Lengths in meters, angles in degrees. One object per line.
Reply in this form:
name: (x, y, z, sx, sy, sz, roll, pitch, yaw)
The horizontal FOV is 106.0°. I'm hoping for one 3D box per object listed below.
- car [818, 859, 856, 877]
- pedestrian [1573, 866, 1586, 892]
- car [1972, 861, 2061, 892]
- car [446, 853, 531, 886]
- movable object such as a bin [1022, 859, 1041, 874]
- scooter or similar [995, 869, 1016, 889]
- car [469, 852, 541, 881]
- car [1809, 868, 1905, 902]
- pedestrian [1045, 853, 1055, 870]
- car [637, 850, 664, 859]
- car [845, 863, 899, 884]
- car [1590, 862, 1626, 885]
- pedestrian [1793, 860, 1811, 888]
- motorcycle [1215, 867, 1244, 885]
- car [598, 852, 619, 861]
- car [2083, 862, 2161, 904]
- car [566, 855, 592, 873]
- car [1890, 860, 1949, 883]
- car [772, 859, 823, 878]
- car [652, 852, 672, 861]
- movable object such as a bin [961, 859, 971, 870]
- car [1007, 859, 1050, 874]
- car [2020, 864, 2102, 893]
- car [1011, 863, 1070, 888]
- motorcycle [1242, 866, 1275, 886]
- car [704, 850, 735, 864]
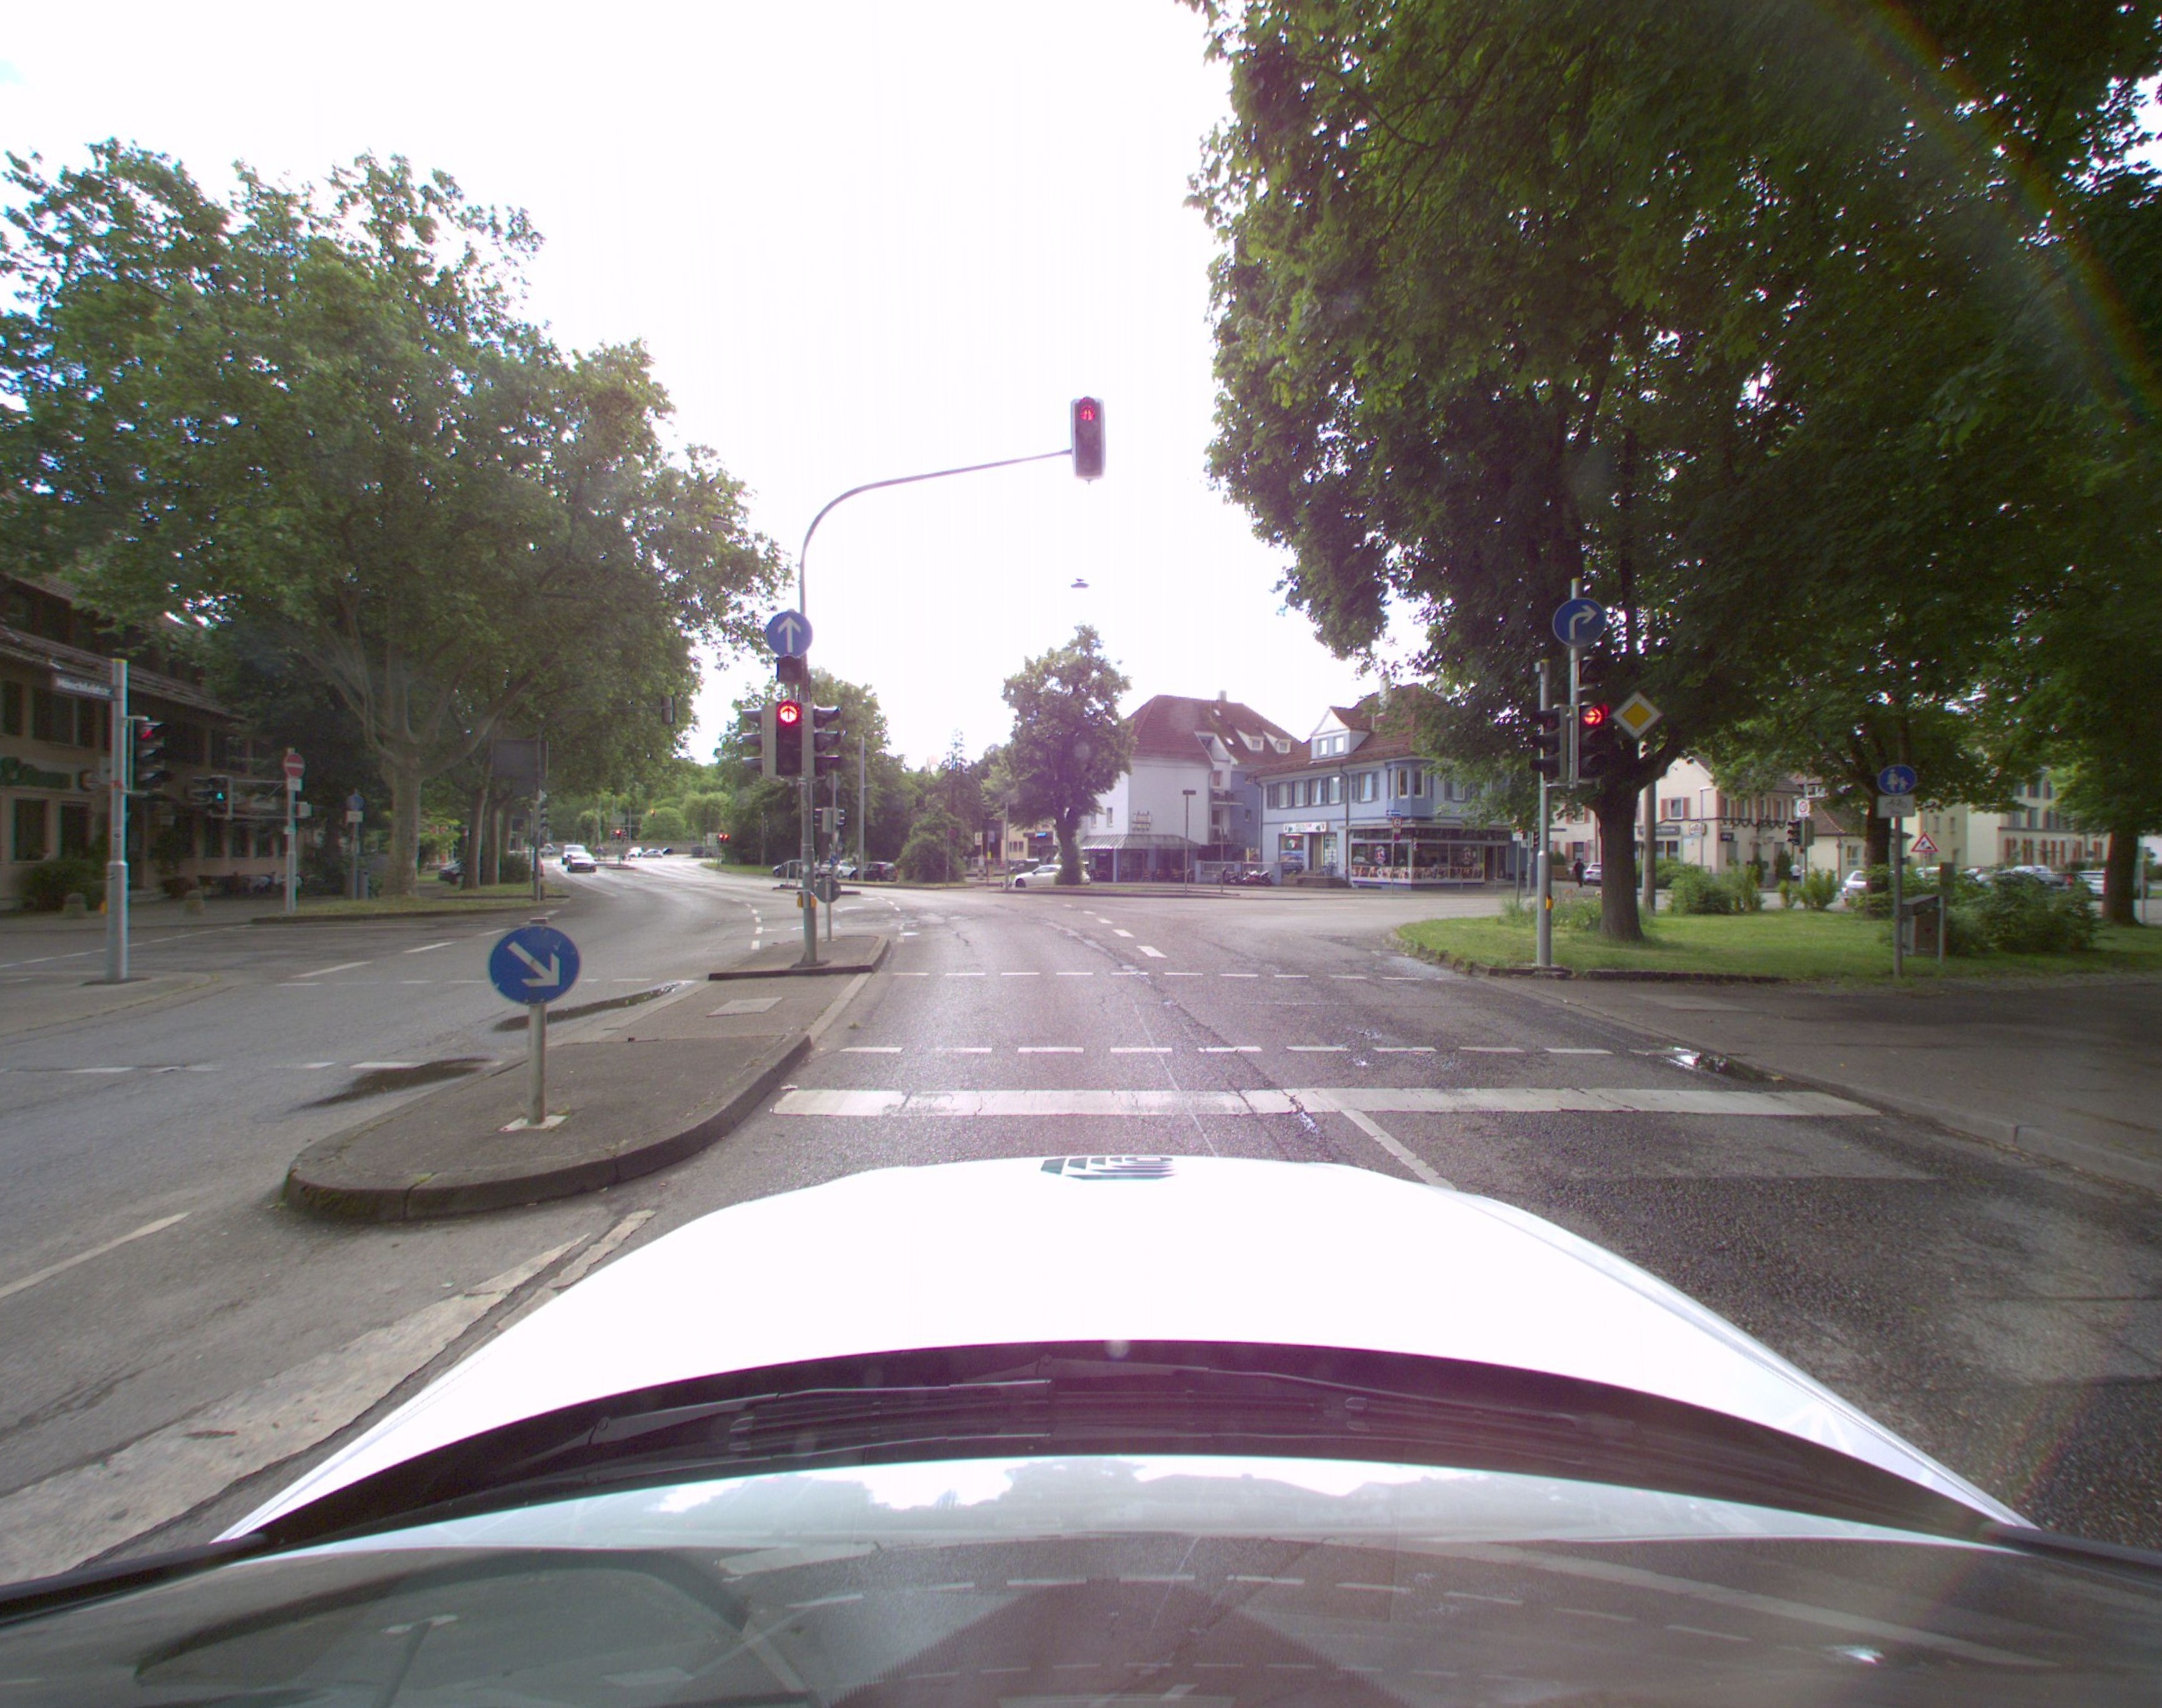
car: (-20.079, 1.140, 67.180, 1.534, 1.464, 3.407, 0, 0, 13)
pedestrian: (28.799, 1.447, 47.014, 0.580, 1.517, 0.462, -1, -1, 35)
car: (42.217, 0.979, 36.746, 3.510, 1.321, 1.549, 0, 0, -21)
car: (-31.000, 0.790, 42.711, 3.461, 1.641, 1.557, 0, -1, -31)
movable object such as a bin: (-4.522, 1.144, 74.242, 1.447, 1.409, 0.959, 0, -1, -25)
scooter or similar: (-3.976, 1.296, 42.875, 0.413, 1.011, 1.575, -1, -1, 22)
car: (-35.483, 0.764, 50.277, 3.461, 1.742, 1.557, 0, -1, -31)
car: (31.964, 1.255, 33.562, 3.511, 1.321, 1.549, 0, 0, -22)
pedestrian: (-2.925, 0.712, 77.101, 0.681, 1.545, 0.701, 0, -1, -32)
car: (-77.968, 0.037, 147.546, 4.003, 1.551, 1.855, 0, 0, -23)
car: (-13.906, 1.274, 54.199, 3.549, 1.394, 1.481, 0, -1, 34)
car: (32.604, 1.190, 50.335, 1.481, 1.369, 3.198, -1, -1, 40)
pedestrian: (43.161, 1.183, 48.762, 0.611, 1.649, 0.606, 0, -1, -27)
motorcycle: (9.115, 1.320, 50.071, 0.699, 1.064, 1.617, 0, -1, -44)
car: (-106.177, 0.522, 183.020, 4.011, 2.014, 1.981, 0, -1, -29)
car: (52.832, 1.439, 41.120, 4.004, 2.014, 1.770, 0, -1, -23)
car: (-40.176, 0.811, 65.179, 1.440, 1.416, 2.838, 0, -1, -39)
car: (55.117, 1.132, 53.524, 4.007, 1.420, 1.544, 0, 0, -26)
car: (-22.437, 1.123, 64.478, 3.520, 1.464, 1.591, 0, 0, 14)
car: (-95.498, 0.464, 185.596, 4.011, 2.014, 1.981, 0, -1, -29)
movable object such as a bin: (-12.220, 1.132, 86.633, 0.953, 1.115, 0.381, 0, -1, -19)
car: (-4.880, 1.145, 76.150, 3.752, 1.345, 1.422, 0, 0, -25)
car: (47.005, 1.170, 39.053, 3.511, 1.321, 1.549, 0, 0, -22)
car: (-2.307, 1.208, 46.232, 3.134, 1.354, 1.448, 0, -1, 36)
motorcycle: (10.536, 1.293, 48.257, 1.777, 1.121, 0.699, 0, -1, 40)
car: (-55.224, 0.434, 124.498, 3.993, 2.014, 1.855, 0, -1, -14)
